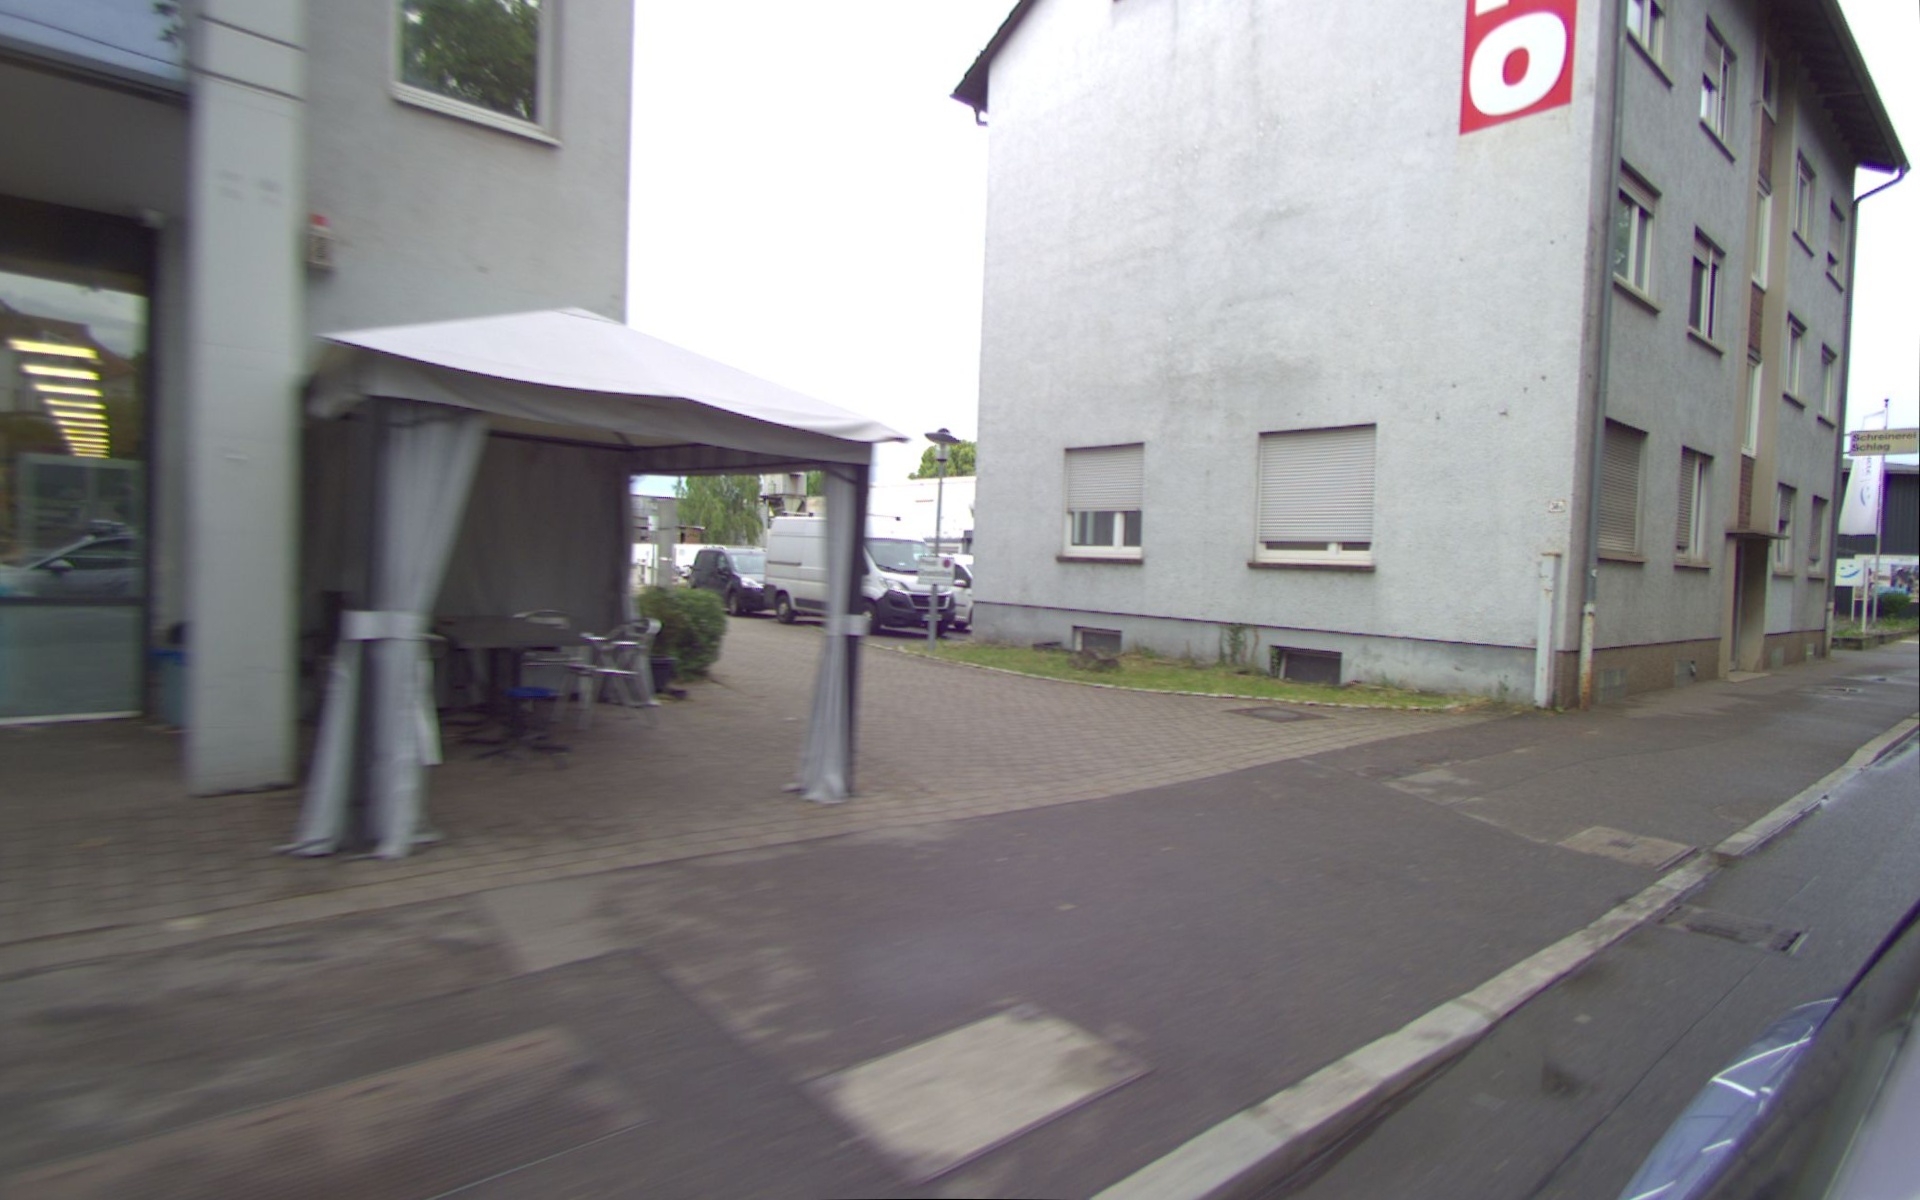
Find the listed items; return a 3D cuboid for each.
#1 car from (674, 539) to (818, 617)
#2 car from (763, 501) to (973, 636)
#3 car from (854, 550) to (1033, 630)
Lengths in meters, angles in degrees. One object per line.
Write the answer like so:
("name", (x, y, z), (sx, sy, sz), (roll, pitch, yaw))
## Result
("car", (-5.729, -0.629, 26.739), (1.985, 1.894, 4.311), (-1, 3, -40))
("car", (-2.184, -0.728, 22.410), (2.029, 2.626, 5.275), (-1, 2, -40))
("car", (-0.495, -0.319, 24.600), (2.029, 1.770, 4.420), (-1, 3, -40))
